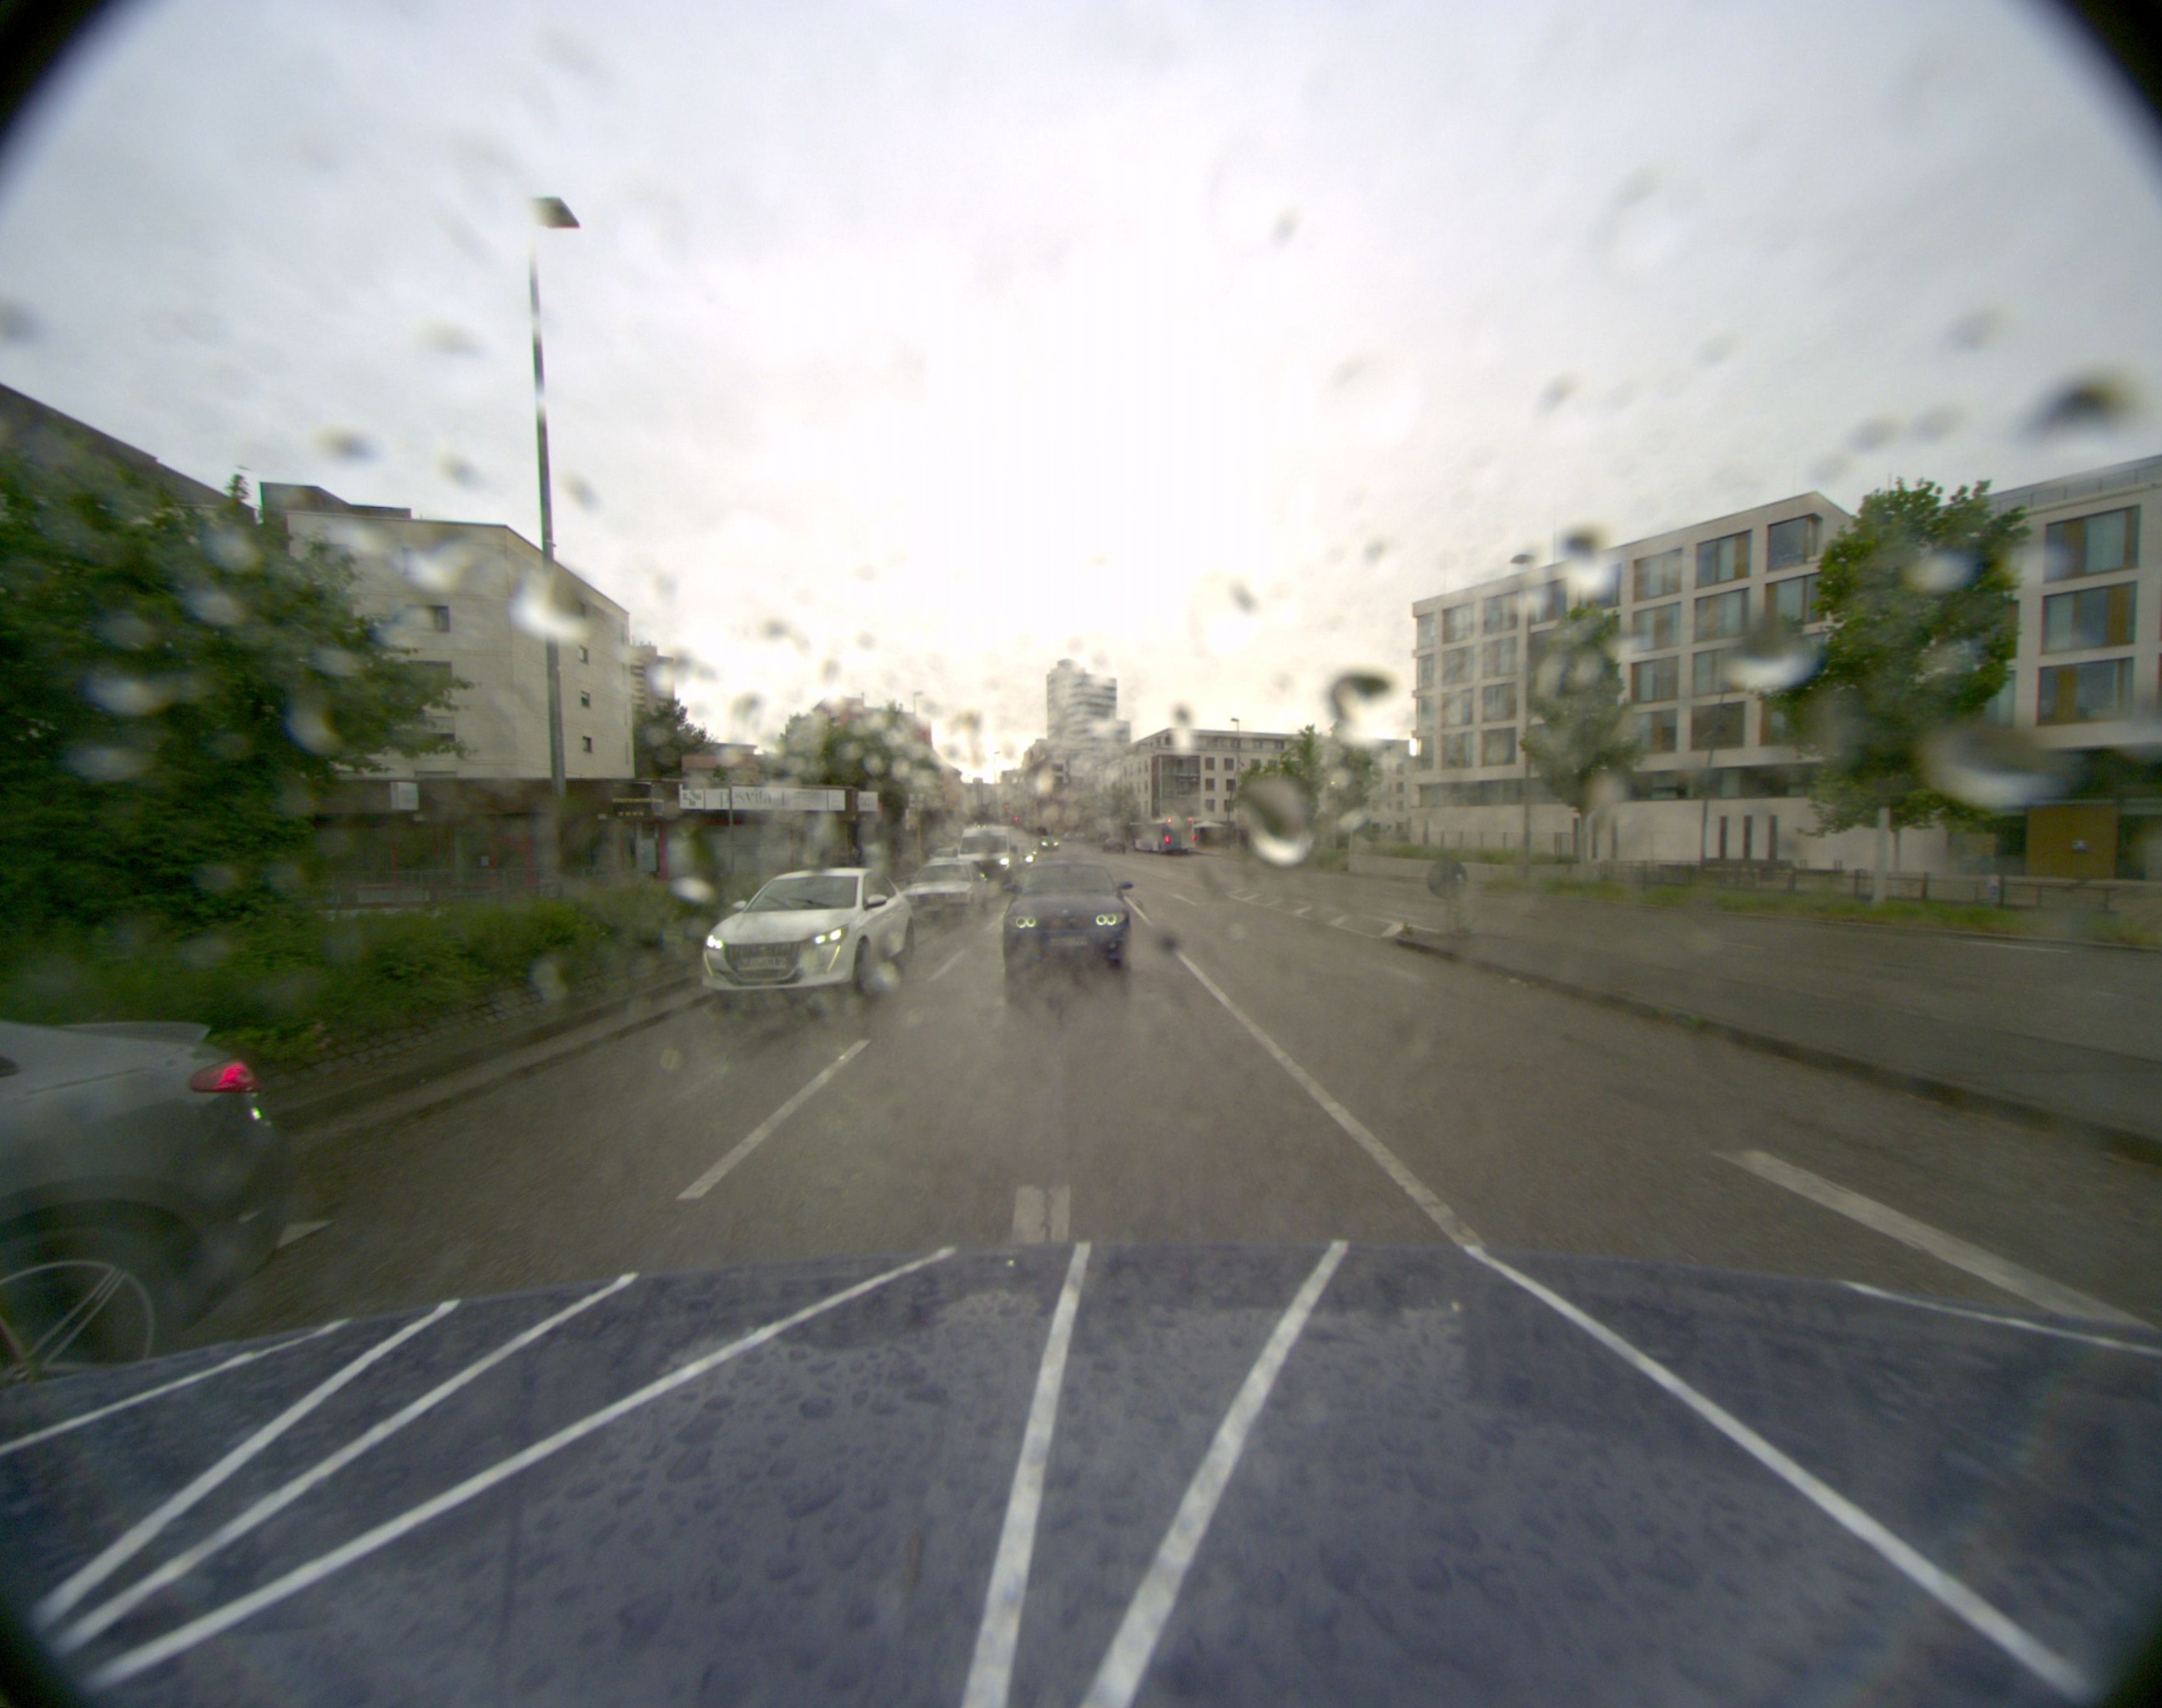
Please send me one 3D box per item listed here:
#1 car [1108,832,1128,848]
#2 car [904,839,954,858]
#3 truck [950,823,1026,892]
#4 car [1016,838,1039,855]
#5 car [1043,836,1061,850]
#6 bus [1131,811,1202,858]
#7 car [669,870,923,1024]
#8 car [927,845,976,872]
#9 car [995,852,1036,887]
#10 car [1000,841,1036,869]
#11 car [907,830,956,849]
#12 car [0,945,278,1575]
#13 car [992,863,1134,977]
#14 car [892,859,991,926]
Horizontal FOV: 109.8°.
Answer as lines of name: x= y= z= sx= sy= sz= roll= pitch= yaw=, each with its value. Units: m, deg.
car: x=3.675 y=-1.406 z=75.146 sx=1.818 sy=1.420 sz=3.941 roll=-2 pitch=2 yaw=1
car: x=-12.615 y=-0.468 z=63.391 sx=4.000 sy=1.412 sz=1.998 roll=-2 pitch=1 yaw=-10
truck: x=-3.528 y=0.080 z=30.222 sx=2.169 sy=2.425 sz=6.199 roll=-1 pitch=1 yaw=0
car: x=-5.068 y=-0.704 z=72.490 sx=1.999 sy=1.543 sz=3.999 roll=-1 pitch=0 yaw=-3
car: x=-3.222 y=-1.221 z=83.135 sx=1.719 sy=1.369 sz=3.732 roll=-3 pitch=1 yaw=-6
bus: x=7.875 y=-1.817 z=73.652 sx=2.952 sy=3.972 sz=18.215 roll=1 pitch=1 yaw=-6
car: x=-3.384 y=1.013 z=9.940 sx=1.718 sy=1.389 sz=4.035 roll=-3 pitch=1 yaw=0
car: x=-6.999 y=0.222 z=41.576 sx=1.998 sy=1.343 sz=3.803 roll=1 pitch=1 yaw=0
car: x=-3.271 y=0.752 z=38.555 sx=1.643 sy=1.477 sz=3.676 roll=-6 pitch=1 yaw=0
car: x=-3.715 y=0.090 z=45.484 sx=1.999 sy=1.543 sz=3.999 roll=-1 pitch=0 yaw=-3
car: x=-12.866 y=-1.255 z=65.653 sx=4.000 sy=1.412 sz=1.701 roll=-2 pitch=1 yaw=-10
car: x=-3.556 y=1.074 z=0.166 sx=1.836 sy=1.436 sz=4.550 roll=-3 pitch=1 yaw=0
car: x=-0.219 y=0.872 z=11.627 sx=1.787 sy=1.335 sz=3.704 roll=-2 pitch=1 yaw=0
car: x=-3.368 y=0.876 z=19.068 sx=1.718 sy=1.369 sz=3.734 roll=-3 pitch=1 yaw=0
